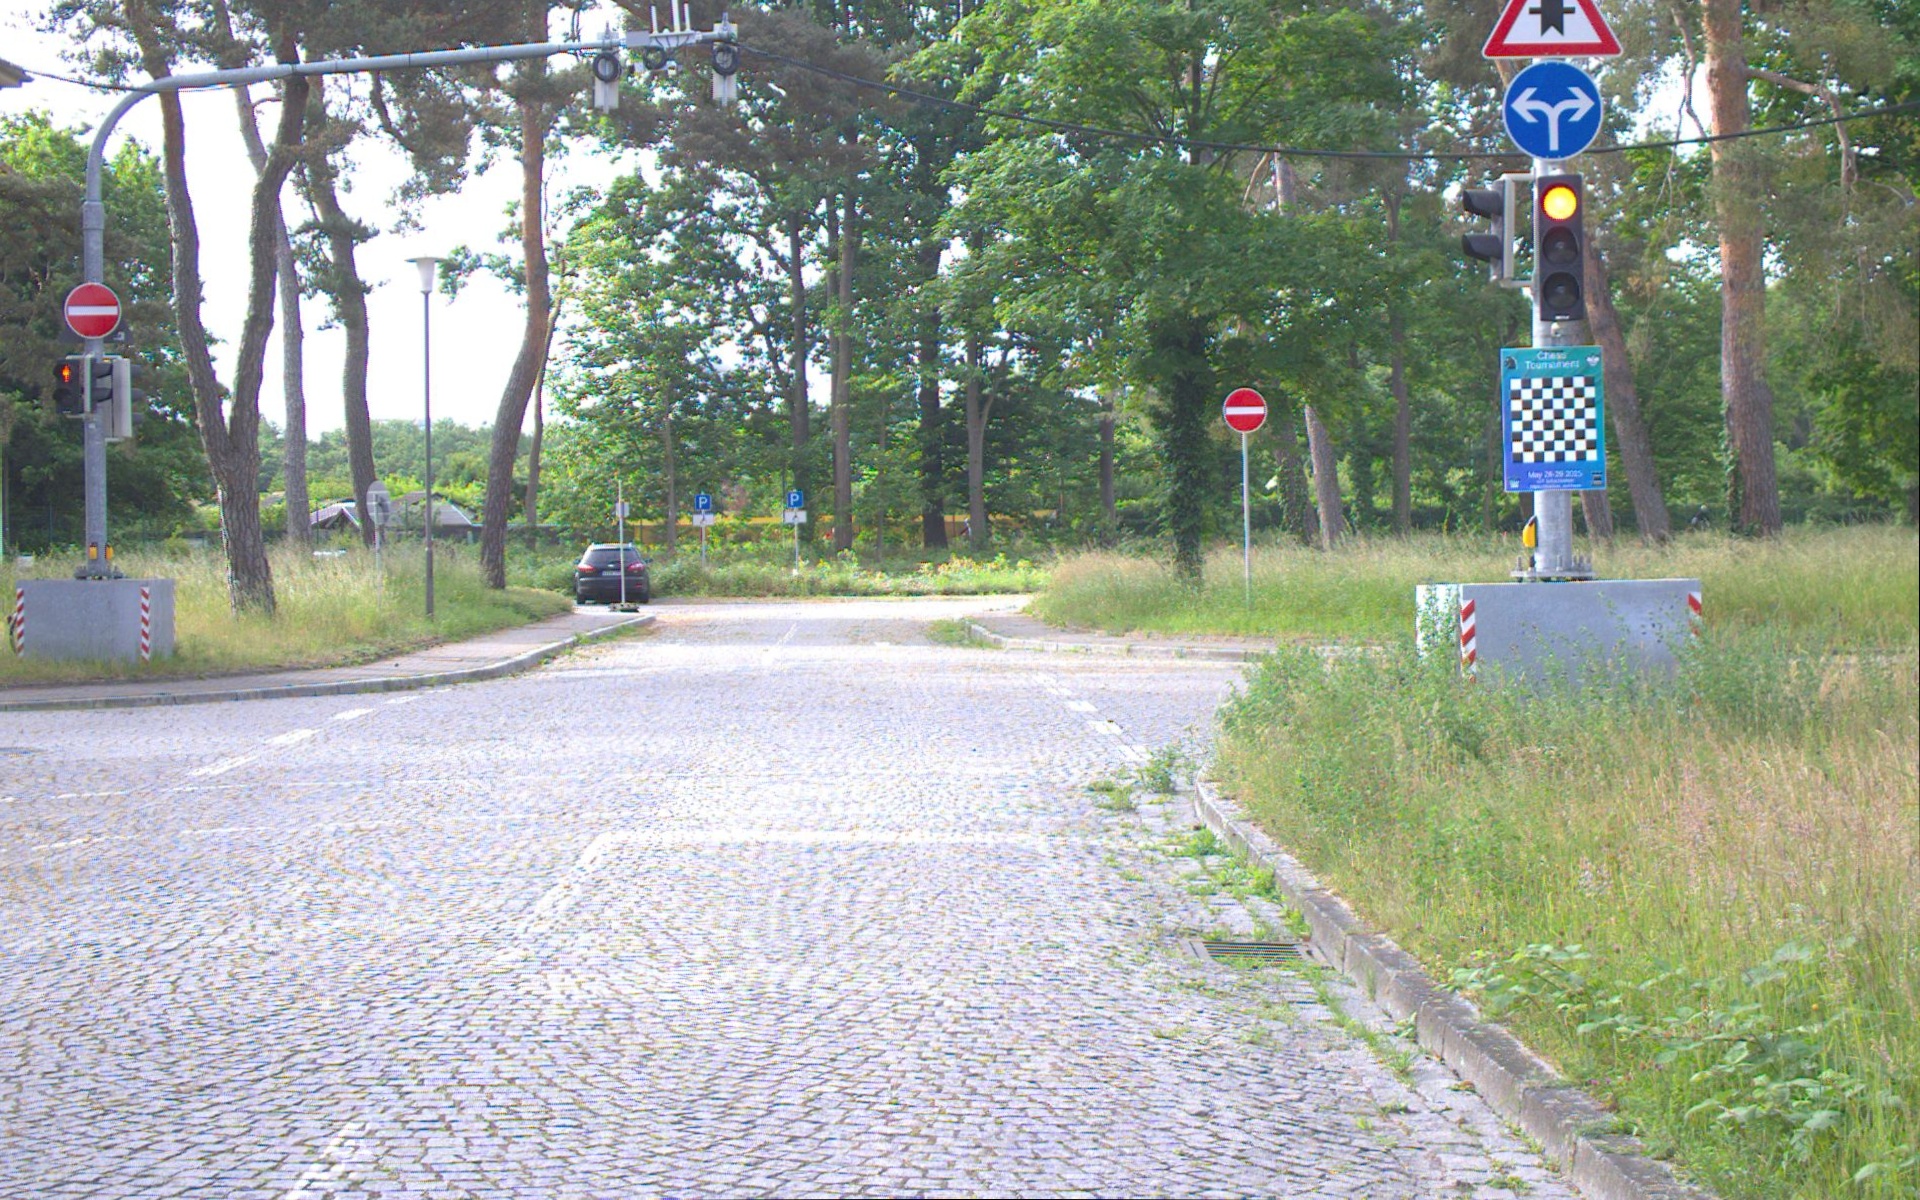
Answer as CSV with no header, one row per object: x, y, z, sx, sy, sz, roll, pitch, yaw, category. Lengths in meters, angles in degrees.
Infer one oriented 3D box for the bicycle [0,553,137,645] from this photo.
-9.900,-0.018,38.119,1.459,0.993,0.452,-1,1,-8,bicycle

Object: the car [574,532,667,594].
-8.665,-0.955,88.029,1.993,1.503,4.000,1,1,-1,car

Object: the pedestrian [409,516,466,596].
-12.373,-1.049,81.448,1.211,1.884,0.747,-1,1,1,pedestrian
